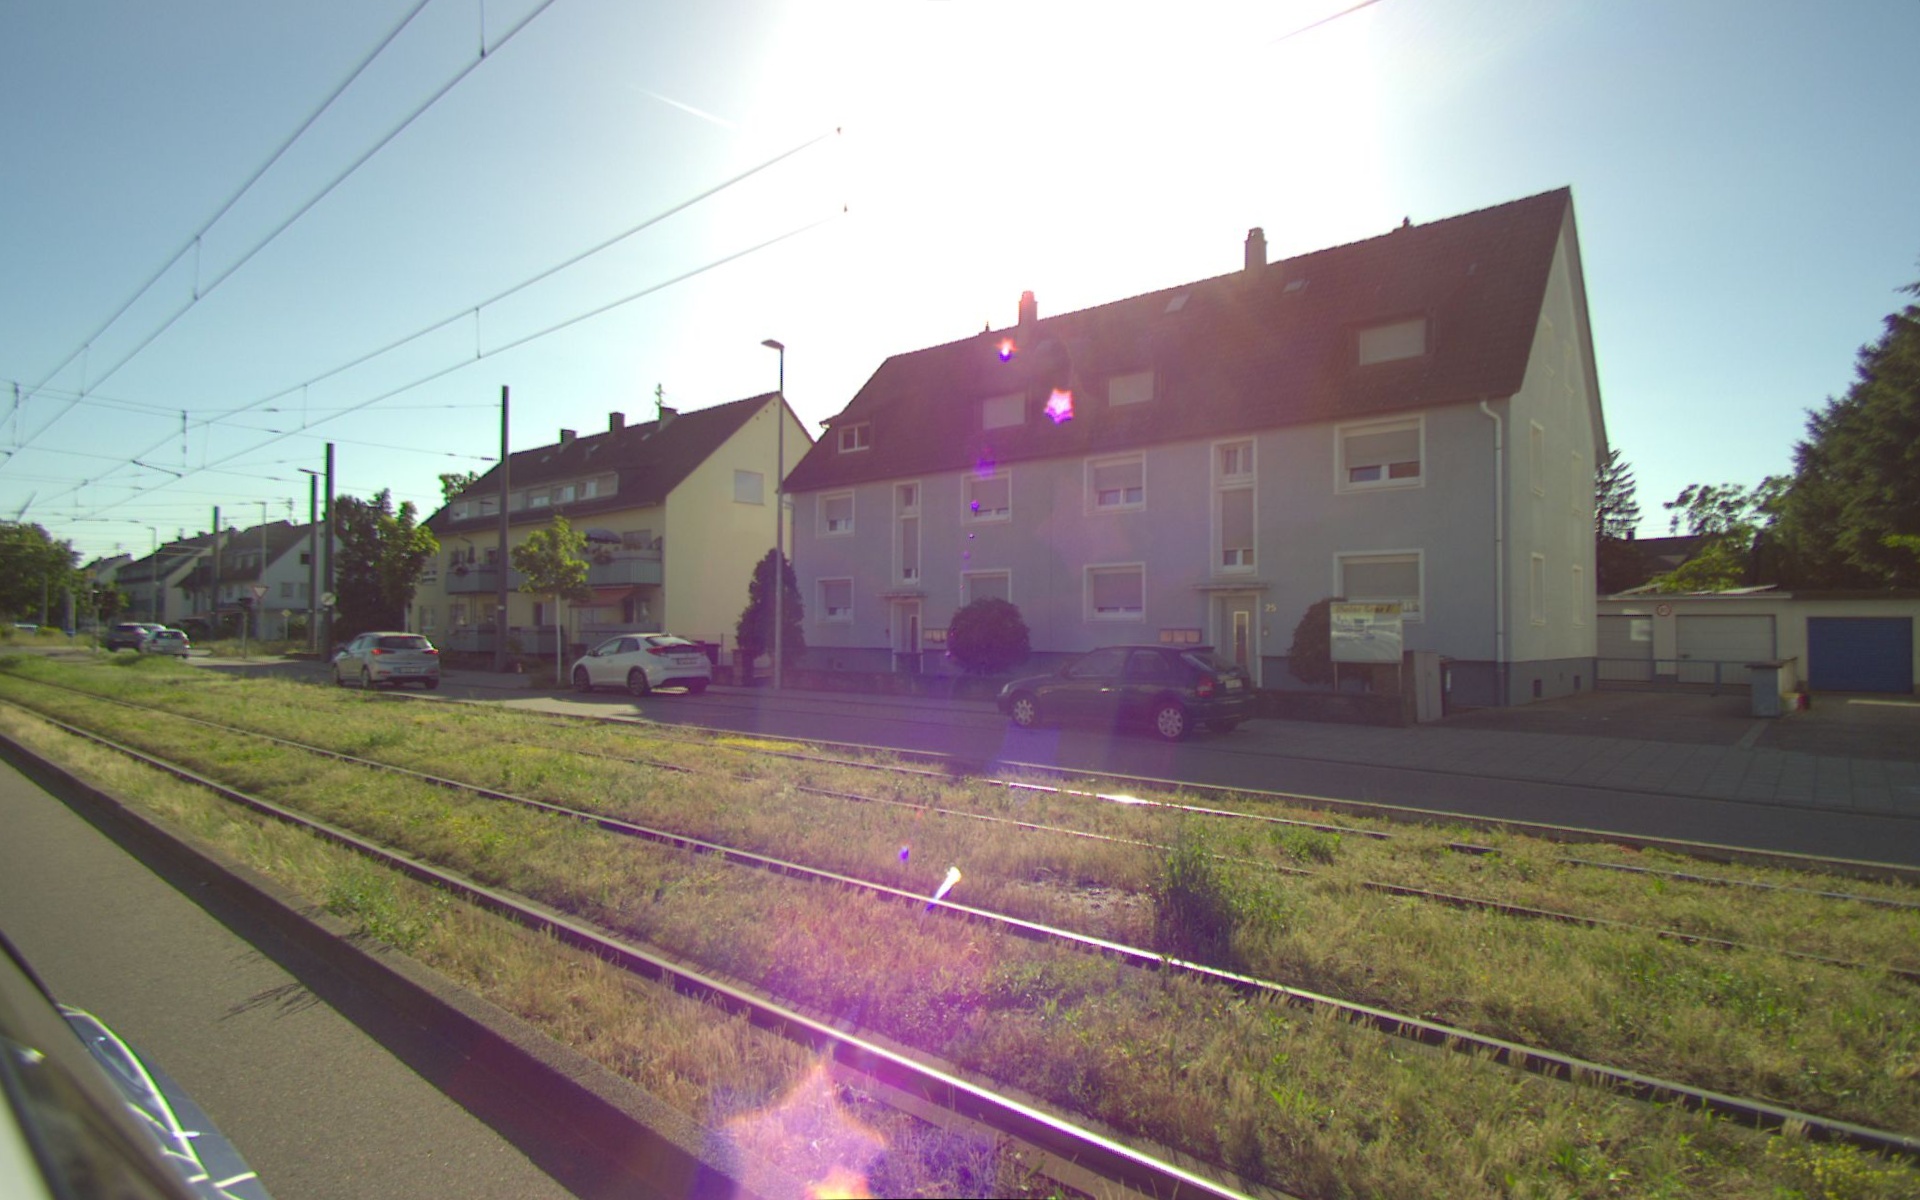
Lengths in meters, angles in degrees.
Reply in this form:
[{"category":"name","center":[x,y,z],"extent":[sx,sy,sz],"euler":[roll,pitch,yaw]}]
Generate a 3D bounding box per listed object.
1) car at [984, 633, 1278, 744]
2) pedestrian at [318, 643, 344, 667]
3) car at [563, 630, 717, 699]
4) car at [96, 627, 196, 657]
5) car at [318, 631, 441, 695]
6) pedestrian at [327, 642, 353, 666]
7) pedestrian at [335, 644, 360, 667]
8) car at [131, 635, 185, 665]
[{"category":"car","center":[2.513,1.247,15.542],"extent":[4.166,1.474,1.771],"euler":[-2,-3,43]},{"category":"pedestrian","center":[-28.834,2.529,46.379],"extent":[0.687,1.054,0.809],"euler":[0,-2,38]},{"category":"car","center":[-7.822,1.515,24.522],"extent":[4.213,1.529,1.674],"euler":[-2,-3,43]},{"category":"car","center":[-45.465,2.340,56.612],"extent":[1.823,1.591,3.960],"euler":[-1,-2,29]},{"category":"car","center":[-15.607,1.634,27.133],"extent":[4.024,1.502,1.689],"euler":[0,-2,43]},{"category":"pedestrian","center":[-28.117,2.451,45.898],"extent":[0.619,1.073,0.818],"euler":[1,-1,8]},{"category":"pedestrian","center":[-27.551,2.503,45.540],"extent":[0.590,1.013,0.720],"euler":[1,-1,17]},{"category":"car","center":[-39.657,2.428,50.017],"extent":[3.658,1.423,1.533],"euler":[-2,-3,42]}]
